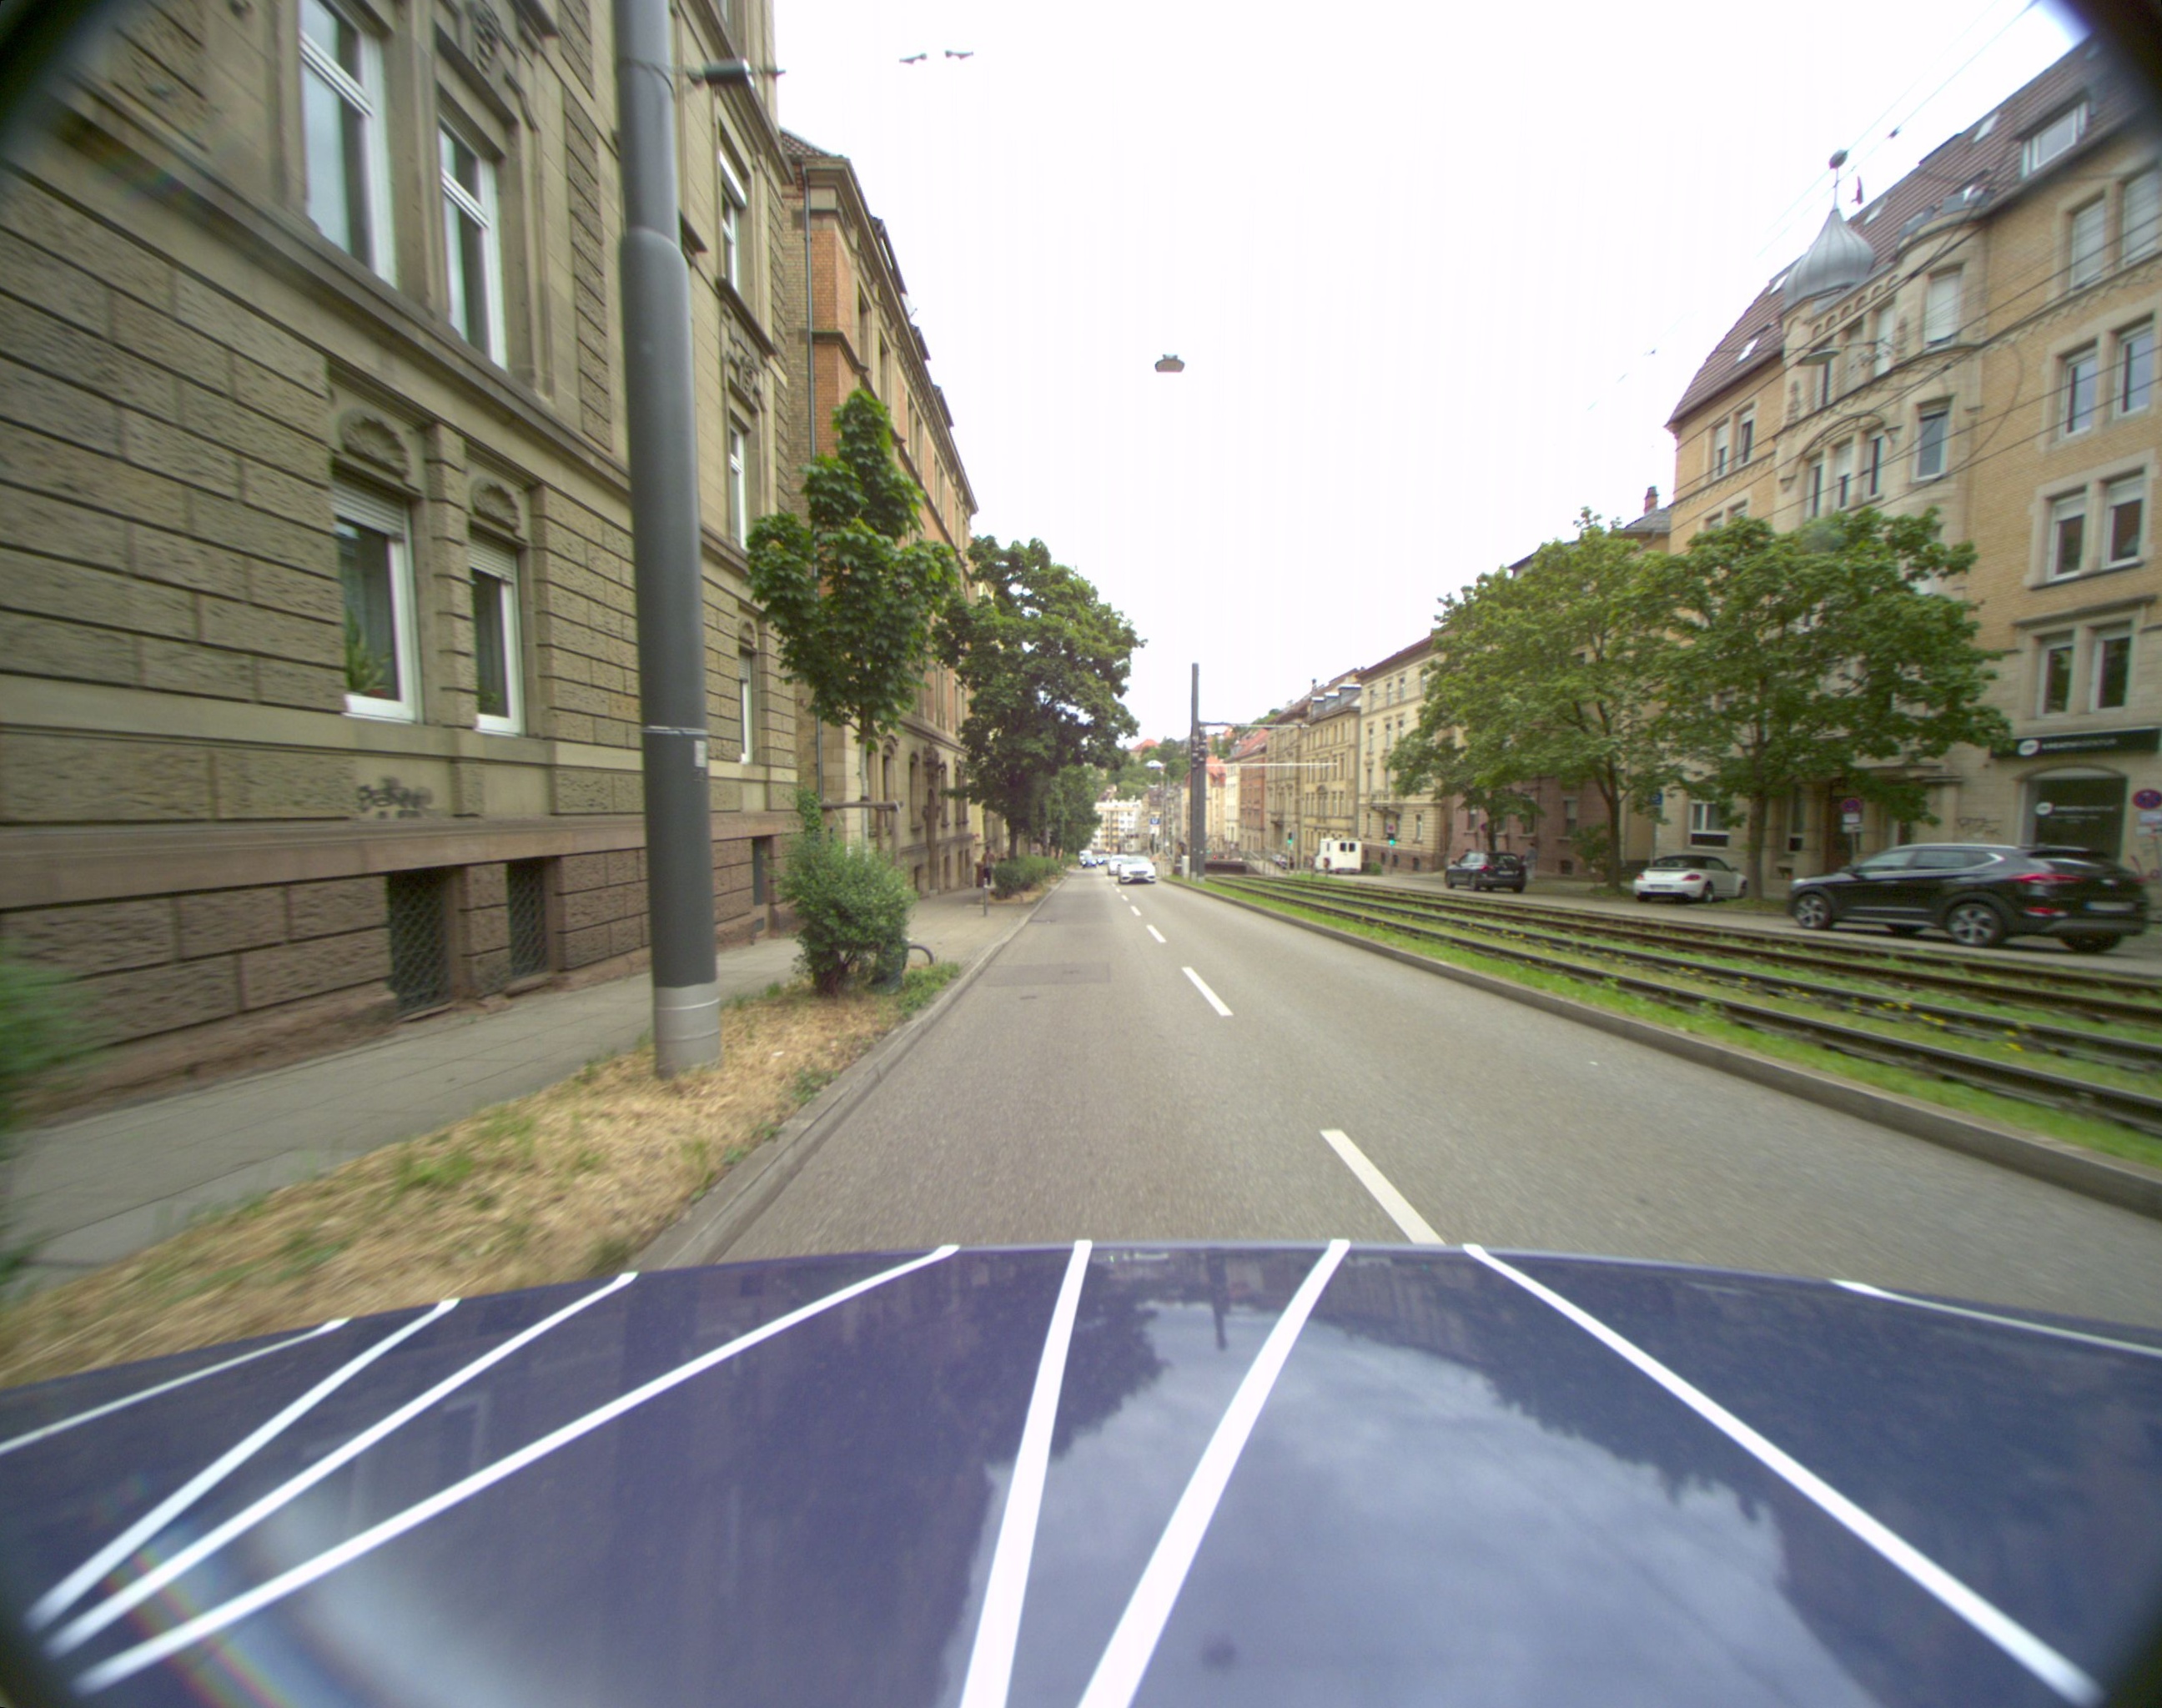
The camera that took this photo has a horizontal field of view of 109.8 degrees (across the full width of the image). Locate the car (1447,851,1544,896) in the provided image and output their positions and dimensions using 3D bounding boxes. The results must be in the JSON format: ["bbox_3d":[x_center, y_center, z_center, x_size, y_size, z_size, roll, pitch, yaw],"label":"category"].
[{"bbox_3d":[16.482,0.726,30.478,1.884,1.640,4.473,1,0,7],"label":"car"}]

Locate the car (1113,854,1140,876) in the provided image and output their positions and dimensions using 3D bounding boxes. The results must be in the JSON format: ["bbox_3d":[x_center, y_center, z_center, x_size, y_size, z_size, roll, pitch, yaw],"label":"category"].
[{"bbox_3d":[3.385,0.797,57.424,1.806,1.541,4.000,-1,0,1],"label":"car"}]

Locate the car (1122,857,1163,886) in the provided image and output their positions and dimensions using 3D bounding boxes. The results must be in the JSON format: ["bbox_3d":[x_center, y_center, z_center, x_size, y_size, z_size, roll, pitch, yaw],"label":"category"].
[{"bbox_3d":[3.148,0.884,39.774,1.806,1.391,4.000,-1,0,0],"label":"car"}]

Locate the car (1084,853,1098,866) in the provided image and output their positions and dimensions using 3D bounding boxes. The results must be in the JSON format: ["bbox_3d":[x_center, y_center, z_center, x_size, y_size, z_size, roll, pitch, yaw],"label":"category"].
[{"bbox_3d":[1.192,0.667,91.616,1.694,1.466,3.857,0,0,1],"label":"car"}]

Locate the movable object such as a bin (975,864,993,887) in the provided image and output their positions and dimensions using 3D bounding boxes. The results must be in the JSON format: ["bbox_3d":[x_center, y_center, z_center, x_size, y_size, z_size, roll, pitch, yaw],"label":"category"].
[{"bbox_3d":[-4.324,0.955,33.907,0.672,1.010,0.582,2,-2,-1],"label":"movable object such as a bin"}]

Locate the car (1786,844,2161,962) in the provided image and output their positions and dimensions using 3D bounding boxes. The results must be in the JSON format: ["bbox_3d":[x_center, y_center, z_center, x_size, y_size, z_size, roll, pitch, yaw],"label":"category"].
[{"bbox_3d":[14.840,0.685,12.902,1.784,1.647,4.243,1,0,1],"label":"car"}]

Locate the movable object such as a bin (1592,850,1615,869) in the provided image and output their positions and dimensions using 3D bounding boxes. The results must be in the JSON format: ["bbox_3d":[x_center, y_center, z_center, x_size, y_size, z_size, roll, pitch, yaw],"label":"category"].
[{"bbox_3d":[23.259,0.240,33.814,0.584,0.831,0.629,0,0,1],"label":"movable object such as a bin"}]

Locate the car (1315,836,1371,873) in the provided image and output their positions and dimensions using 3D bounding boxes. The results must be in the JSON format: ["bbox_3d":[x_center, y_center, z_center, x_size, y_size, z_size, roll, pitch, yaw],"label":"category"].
[{"bbox_3d":[20.129,0.036,58.690,2.397,2.684,6.520,1,0,4],"label":"car"}]

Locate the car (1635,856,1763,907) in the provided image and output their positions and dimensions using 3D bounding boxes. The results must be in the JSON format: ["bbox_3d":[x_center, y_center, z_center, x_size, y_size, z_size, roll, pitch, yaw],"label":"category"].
[{"bbox_3d":[19.120,0.802,23.477,4.006,1.414,1.782,-1,0,-30],"label":"car"}]

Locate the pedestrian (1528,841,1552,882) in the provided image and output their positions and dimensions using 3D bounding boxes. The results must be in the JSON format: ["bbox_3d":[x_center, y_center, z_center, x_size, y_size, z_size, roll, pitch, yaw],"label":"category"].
[{"bbox_3d":[22.523,0.356,37.294,0.722,2.002,0.797,0,0,-1],"label":"pedestrian"}]

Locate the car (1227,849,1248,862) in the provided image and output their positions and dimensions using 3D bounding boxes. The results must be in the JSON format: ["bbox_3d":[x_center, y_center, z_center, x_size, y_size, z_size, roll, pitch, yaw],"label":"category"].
[{"bbox_3d":[17.407,0.146,84.557,1.580,1.369,3.655,0,0,1],"label":"car"}]

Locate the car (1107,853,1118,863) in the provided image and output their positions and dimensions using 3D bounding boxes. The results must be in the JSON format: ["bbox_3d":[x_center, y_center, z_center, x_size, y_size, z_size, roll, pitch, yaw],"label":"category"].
[{"bbox_3d":[4.546,0.571,110.365,1.562,1.330,4.001,0,0,1],"label":"car"}]

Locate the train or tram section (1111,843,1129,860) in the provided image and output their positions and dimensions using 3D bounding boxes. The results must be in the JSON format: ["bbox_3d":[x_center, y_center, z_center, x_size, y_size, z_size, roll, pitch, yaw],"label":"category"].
[{"bbox_3d":[8.761,-0.503,171.768,2.968,3.456,14.408,0,-1,-1],"label":"train or tram section"}]

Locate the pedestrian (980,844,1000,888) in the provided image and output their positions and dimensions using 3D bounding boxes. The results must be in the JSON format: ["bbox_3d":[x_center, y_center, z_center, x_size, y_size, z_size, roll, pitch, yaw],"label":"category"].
[{"bbox_3d":[-3.882,0.497,32.537,0.687,1.819,1.121,1,3,1],"label":"pedestrian"}]

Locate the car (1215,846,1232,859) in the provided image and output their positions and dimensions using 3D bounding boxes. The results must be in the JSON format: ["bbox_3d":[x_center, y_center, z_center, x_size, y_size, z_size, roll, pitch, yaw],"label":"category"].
[{"bbox_3d":[21.038,-0.217,112.502,1.853,1.849,4.139,0,0,1],"label":"car"}]

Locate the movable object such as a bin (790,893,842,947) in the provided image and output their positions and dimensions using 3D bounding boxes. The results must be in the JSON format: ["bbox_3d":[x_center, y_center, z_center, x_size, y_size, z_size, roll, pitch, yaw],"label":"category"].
[{"bbox_3d":[-4.601,1.135,13.233,0.672,0.892,0.582,2,-2,-1],"label":"movable object such as a bin"}]

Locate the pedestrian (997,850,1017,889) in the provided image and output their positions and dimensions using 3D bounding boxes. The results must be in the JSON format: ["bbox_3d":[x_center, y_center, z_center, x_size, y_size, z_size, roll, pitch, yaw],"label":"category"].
[{"bbox_3d":[-3.153,0.644,32.315,0.687,1.566,1.216,1,3,1],"label":"pedestrian"}]

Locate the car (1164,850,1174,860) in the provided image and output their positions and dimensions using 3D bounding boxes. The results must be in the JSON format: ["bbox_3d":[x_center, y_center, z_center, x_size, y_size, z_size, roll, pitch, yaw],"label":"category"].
[{"bbox_3d":[21.631,0.278,186.709,1.998,2.291,5.455,0,0,1],"label":"car"}]

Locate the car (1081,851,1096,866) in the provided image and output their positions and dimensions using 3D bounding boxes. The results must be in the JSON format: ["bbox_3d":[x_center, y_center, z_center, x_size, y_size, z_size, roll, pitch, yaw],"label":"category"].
[{"bbox_3d":[1.241,0.704,123.594,2.263,2.274,5.968,-1,-1,0],"label":"car"}]

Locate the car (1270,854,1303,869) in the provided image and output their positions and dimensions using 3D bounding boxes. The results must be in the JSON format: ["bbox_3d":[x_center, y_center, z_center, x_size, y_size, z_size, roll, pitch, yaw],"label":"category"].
[{"bbox_3d":[20.164,0.748,74.761,1.753,1.420,4.747,1,0,-1],"label":"car"}]

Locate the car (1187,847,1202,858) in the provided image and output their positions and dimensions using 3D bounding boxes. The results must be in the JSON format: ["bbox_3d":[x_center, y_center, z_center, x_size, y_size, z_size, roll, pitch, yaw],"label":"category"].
[{"bbox_3d":[17.952,-0.288,120.440,1.713,1.725,4.577,0,0,1],"label":"car"}]
